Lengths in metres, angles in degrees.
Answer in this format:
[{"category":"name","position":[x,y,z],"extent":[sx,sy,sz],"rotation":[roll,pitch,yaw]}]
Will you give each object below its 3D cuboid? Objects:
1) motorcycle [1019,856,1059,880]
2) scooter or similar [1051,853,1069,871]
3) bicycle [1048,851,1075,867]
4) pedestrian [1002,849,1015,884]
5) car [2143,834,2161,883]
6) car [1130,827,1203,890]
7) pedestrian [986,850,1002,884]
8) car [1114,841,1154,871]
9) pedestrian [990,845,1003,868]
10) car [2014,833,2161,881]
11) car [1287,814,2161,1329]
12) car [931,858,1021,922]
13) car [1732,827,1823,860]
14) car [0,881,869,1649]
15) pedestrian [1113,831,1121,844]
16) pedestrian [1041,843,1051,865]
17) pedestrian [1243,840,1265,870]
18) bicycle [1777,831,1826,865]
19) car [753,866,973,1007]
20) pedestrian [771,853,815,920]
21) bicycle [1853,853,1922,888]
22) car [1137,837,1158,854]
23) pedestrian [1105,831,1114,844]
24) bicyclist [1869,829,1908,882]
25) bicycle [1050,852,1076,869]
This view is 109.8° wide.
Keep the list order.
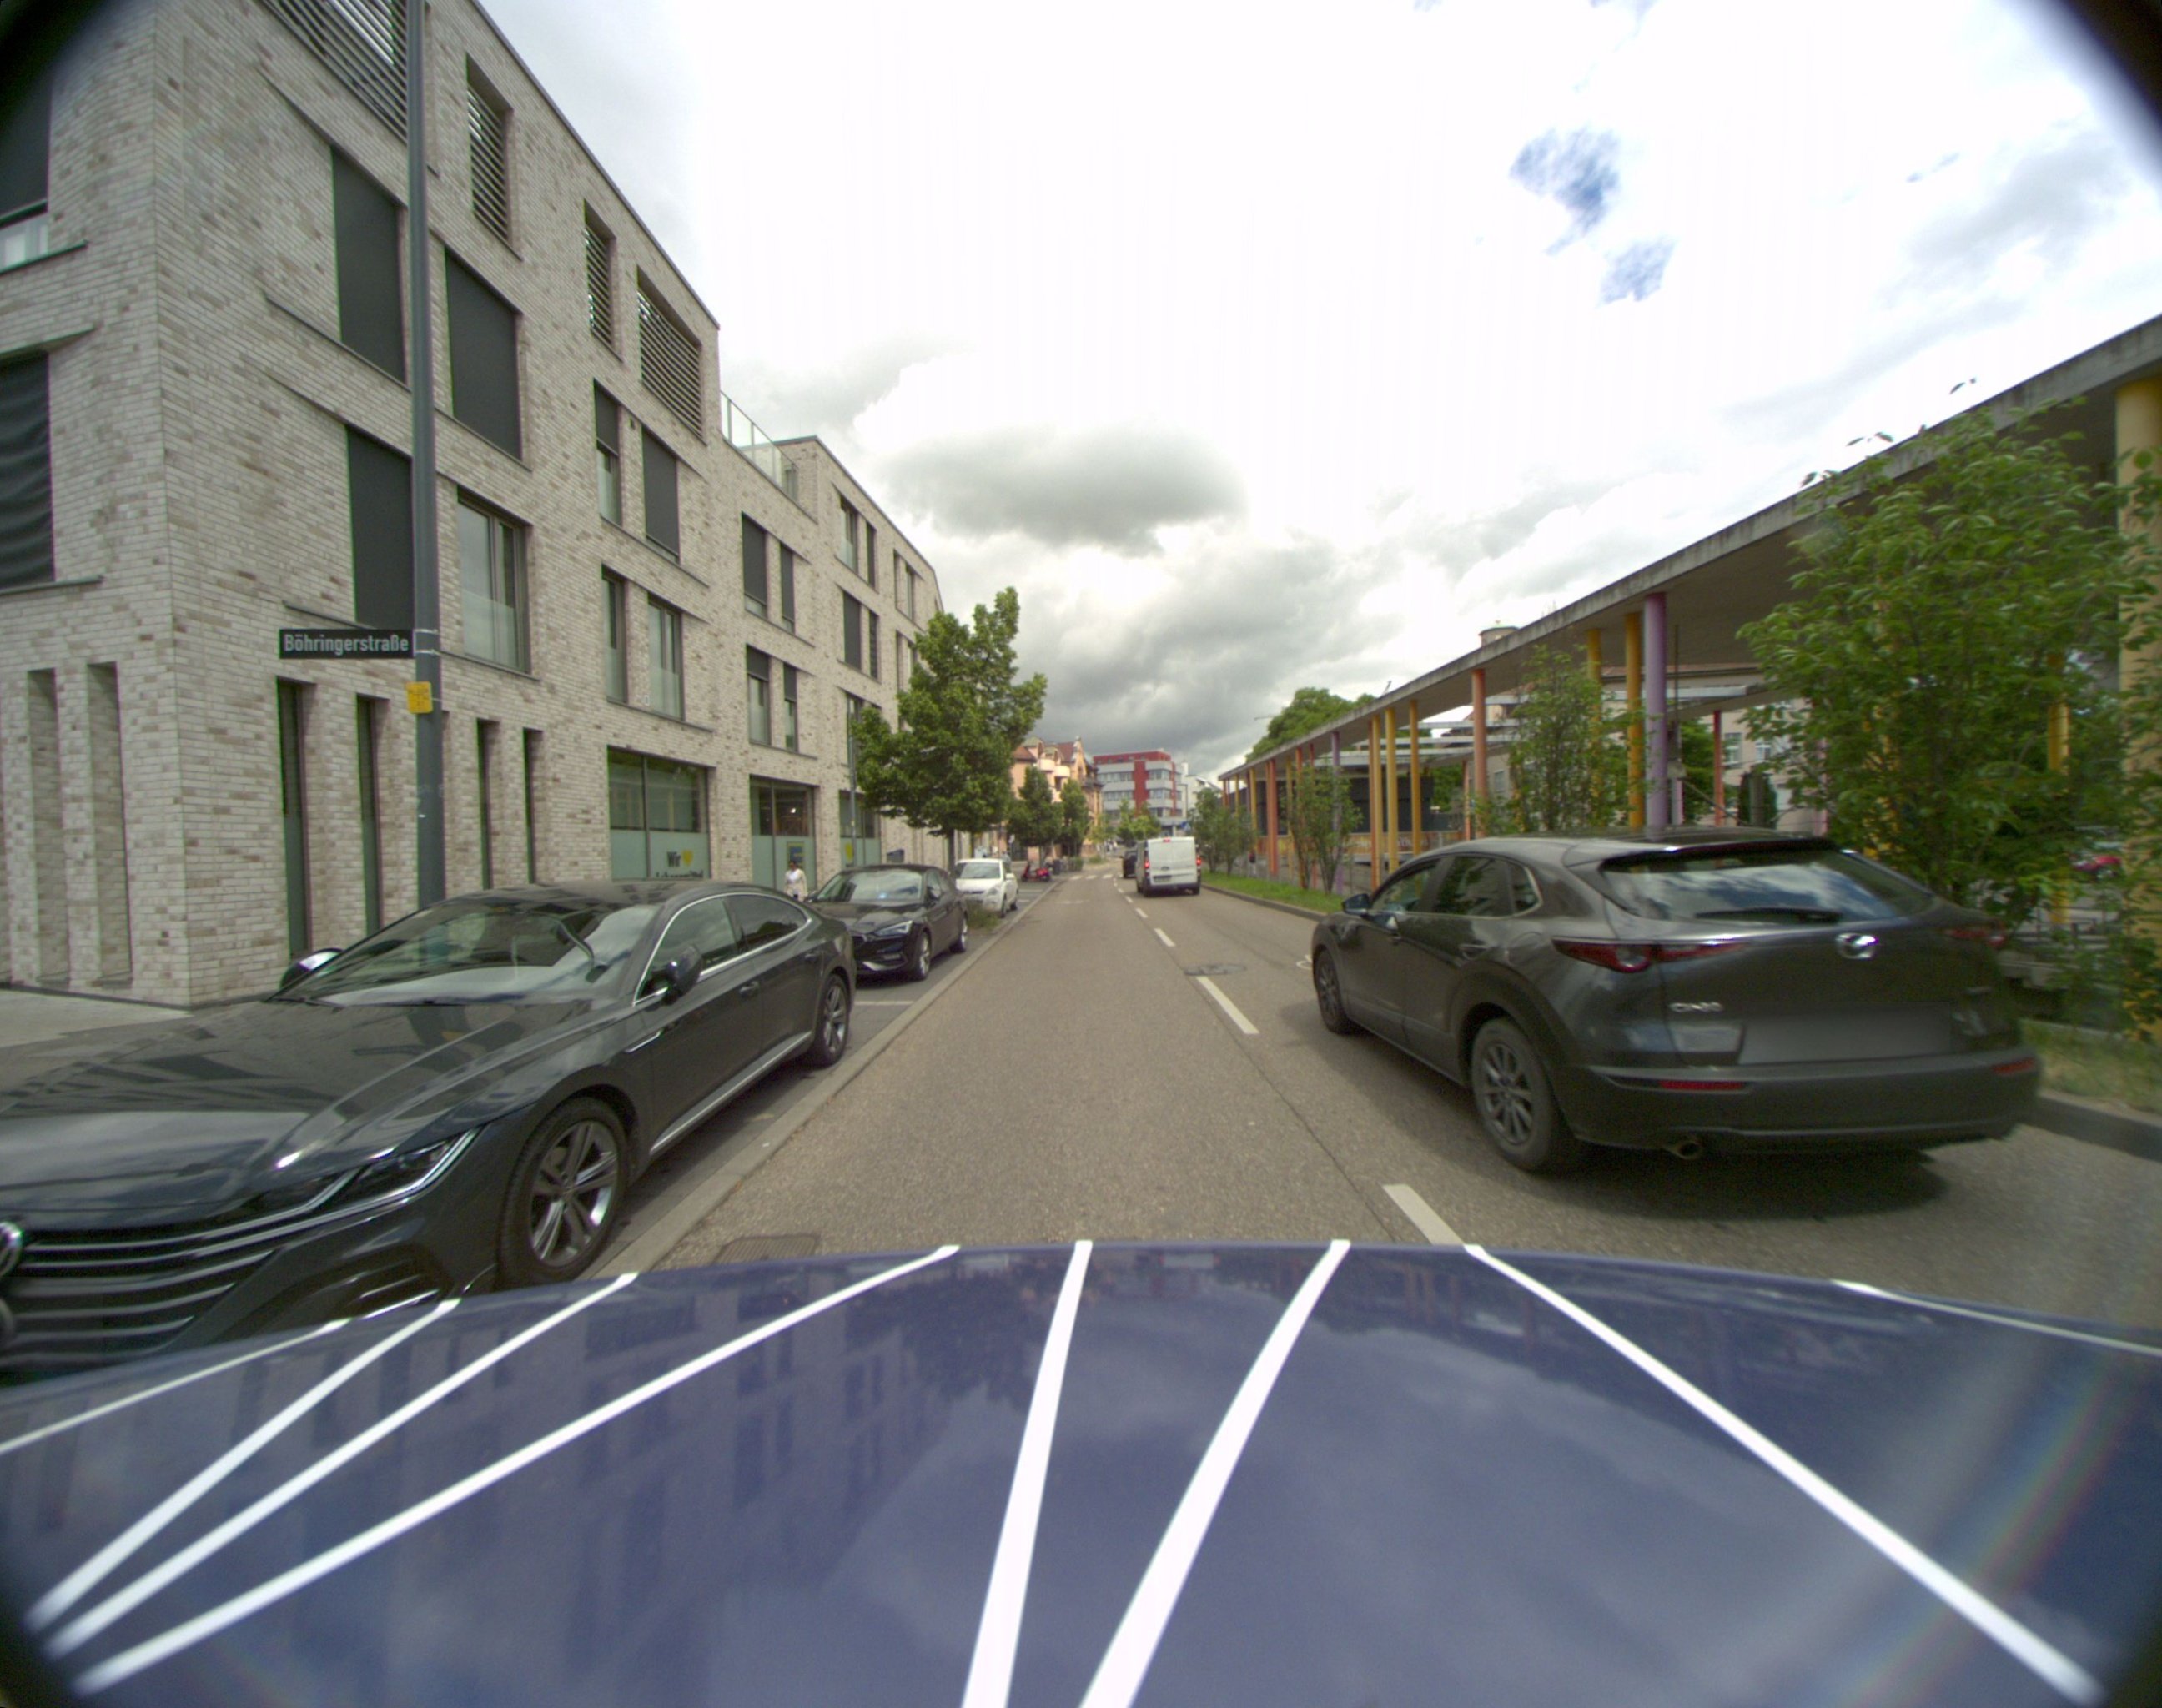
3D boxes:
[{"category":"motorcycle","position":[-2.295,0.768,41.460],"extent":[2.052,1.259,0.673],"rotation":[1,3,19]},{"category":"scooter or similar","position":[-1.467,0.558,53.485],"extent":[1.198,1.243,0.494],"rotation":[0,2,8]},{"category":"bicycle","position":[-1.390,0.379,55.130],"extent":[1.826,1.125,0.756],"rotation":[0,2,8]},{"category":"pedestrian","position":[-3.752,0.649,39.529],"extent":[0.623,1.757,0.737],"rotation":[-1,3,-3]},{"category":"car","position":[33.439,0.088,21.387],"extent":[3.992,1.393,1.571],"rotation":[-2,3,16]},{"category":"car","position":[2.875,0.097,26.596],"extent":[2.009,1.906,5.064],"rotation":[-3,1,1]},{"category":"pedestrian","position":[-4.601,0.658,40.246],"extent":[0.757,1.757,0.734],"rotation":[-1,3,-5]},{"category":"car","position":[3.124,0.091,45.667],"extent":[1.924,1.595,4.625],"rotation":[-3,1,-1]},{"category":"pedestrian","position":[-6.130,0.181,55.332],"extent":[0.658,1.683,0.633],"rotation":[1,2,42]},{"category":"car","position":[33.501,0.075,24.518],"extent":[3.992,1.330,1.727],"rotation":[-2,3,16]},{"category":"car","position":[2.681,0.650,4.487],"extent":[1.729,1.512,4.254],"rotation":[-4,1,0]},{"category":"car","position":[-2.679,0.885,20.180],"extent":[1.696,1.475,3.798],"rotation":[0,1,3]},{"category":"car","position":[39.407,-0.567,43.147],"extent":[1.902,1.660,4.003],"rotation":[-2,0,10]},{"category":"car","position":[-2.734,0.974,3.963],"extent":[1.869,1.443,4.643],"rotation":[0,1,1]},{"category":"pedestrian","position":[4.691,-2.176,99.326],"extent":[0.696,1.649,0.741],"rotation":[-1,3,26]},{"category":"pedestrian","position":[-2.872,-0.011,62.885],"extent":[0.659,1.732,1.018],"rotation":[-1,2,7]},{"category":"pedestrian","position":[9.404,0.024,41.293],"extent":[0.929,1.557,0.814],"rotation":[-3,3,-1]},{"category":"bicycle","position":[29.692,-0.267,31.343],"extent":[0.532,1.262,2.061],"rotation":[-2,3,14]},{"category":"car","position":[-2.726,0.953,10.528],"extent":[1.696,1.453,4.147],"rotation":[0,1,2]},{"category":"pedestrian","position":[-6.472,0.721,17.108],"extent":[0.608,1.464,0.791],"rotation":[0,1,9]},{"category":"bicycle","position":[25.019,0.508,23.608],"extent":[0.485,0.958,1.612],"rotation":[-3,3,4]},{"category":"car","position":[7.234,-0.911,82.544],"extent":[1.802,1.572,4.001],"rotation":[-2,3,11]},{"category":"pedestrian","position":[3.727,-2.131,99.574],"extent":[0.738,1.631,0.677],"rotation":[0,4,40]},{"category":"bicyclist","position":[24.991,0.025,23.511],"extent":[0.485,1.584,0.681],"rotation":[-3,3,3]},{"category":"bicycle","position":[-1.328,0.477,56.163],"extent":[1.826,1.194,0.756],"rotation":[0,2,8]}]
